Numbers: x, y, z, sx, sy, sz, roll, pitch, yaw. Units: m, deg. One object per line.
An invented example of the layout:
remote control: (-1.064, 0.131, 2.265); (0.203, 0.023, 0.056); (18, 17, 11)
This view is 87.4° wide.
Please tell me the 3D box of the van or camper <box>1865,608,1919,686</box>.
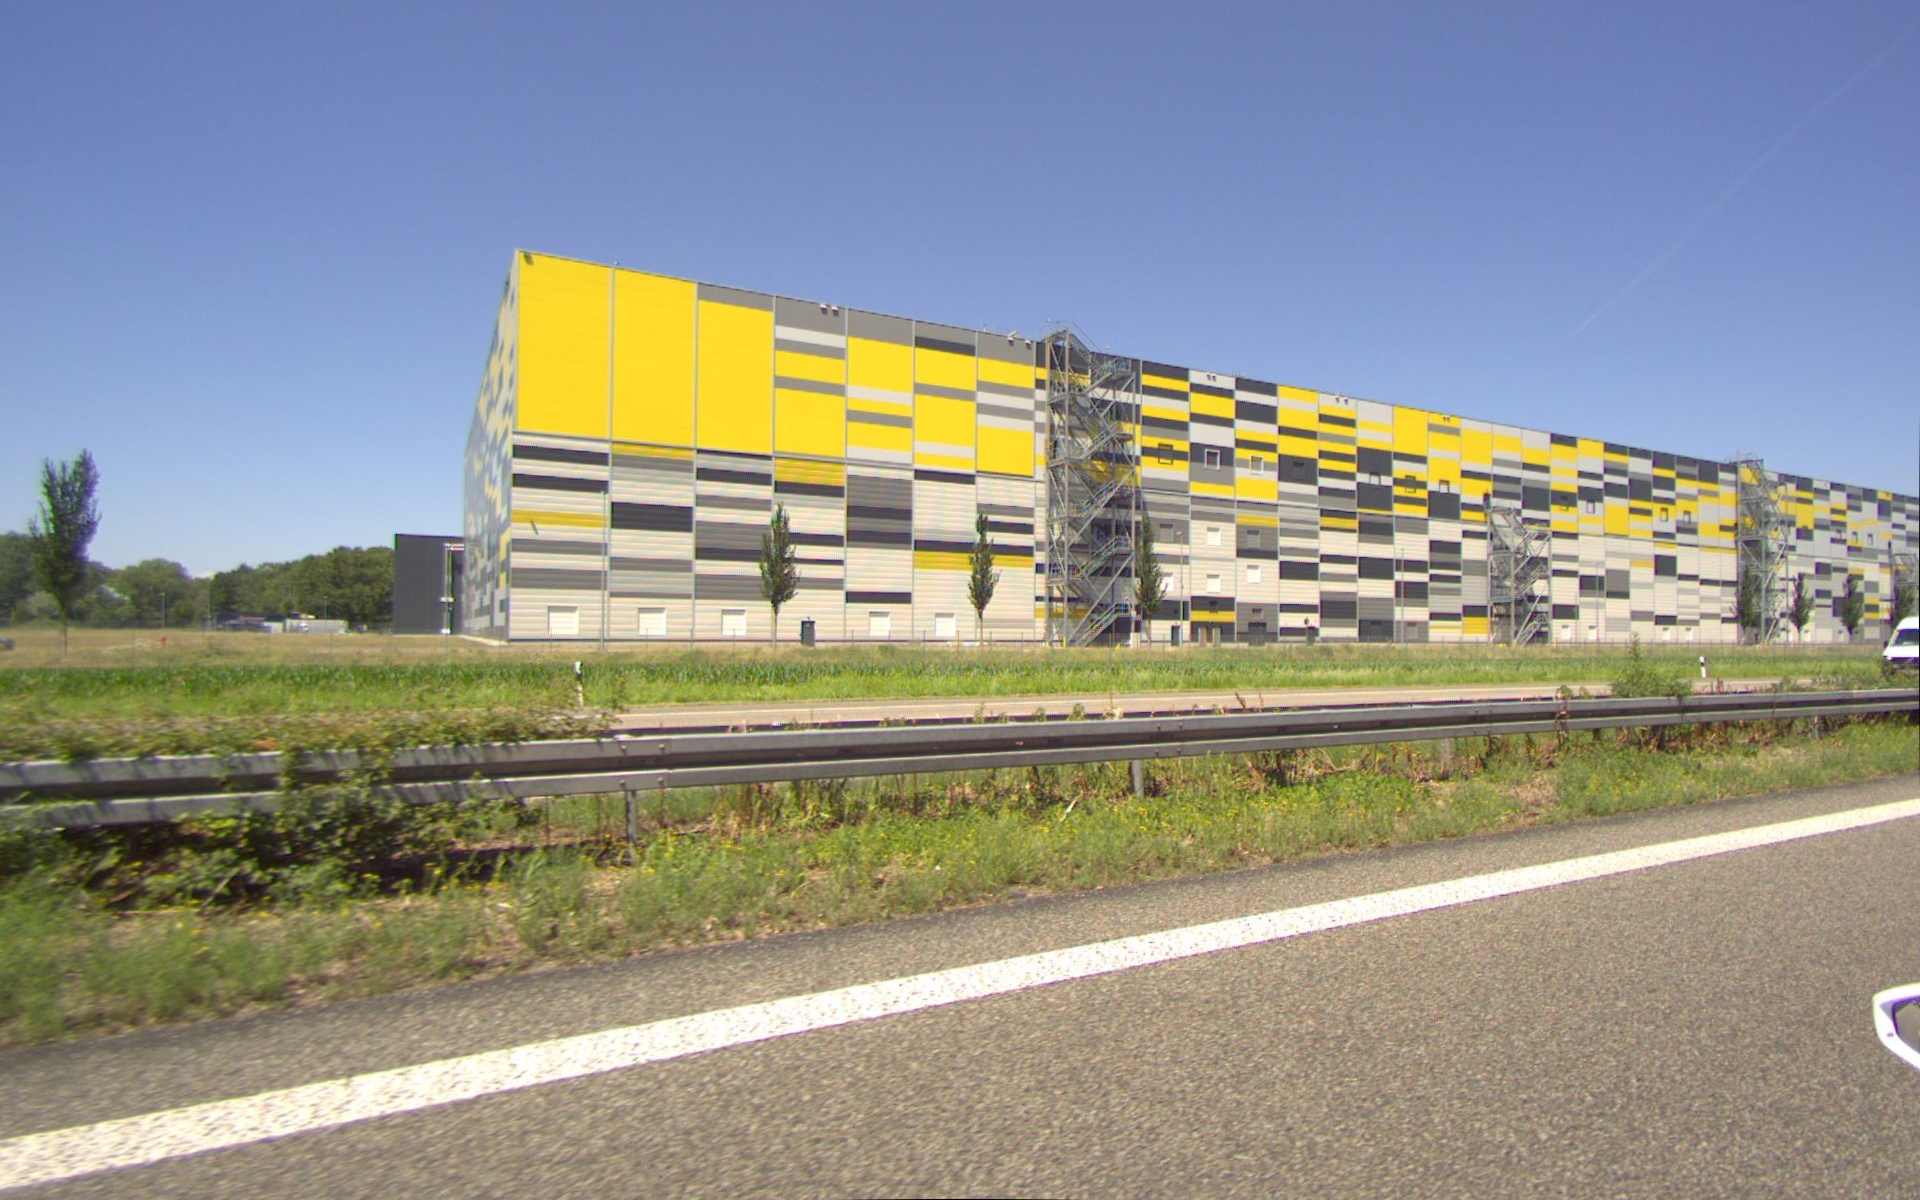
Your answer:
van or camper: (37.416, 1.804, 38.416); (6.881, 2.816, 2.048); (1, -2, -29)

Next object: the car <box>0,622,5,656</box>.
car: (-50.870, 1.956, 50.295); (4.064, 1.750, 1.676); (2, -2, -31)
